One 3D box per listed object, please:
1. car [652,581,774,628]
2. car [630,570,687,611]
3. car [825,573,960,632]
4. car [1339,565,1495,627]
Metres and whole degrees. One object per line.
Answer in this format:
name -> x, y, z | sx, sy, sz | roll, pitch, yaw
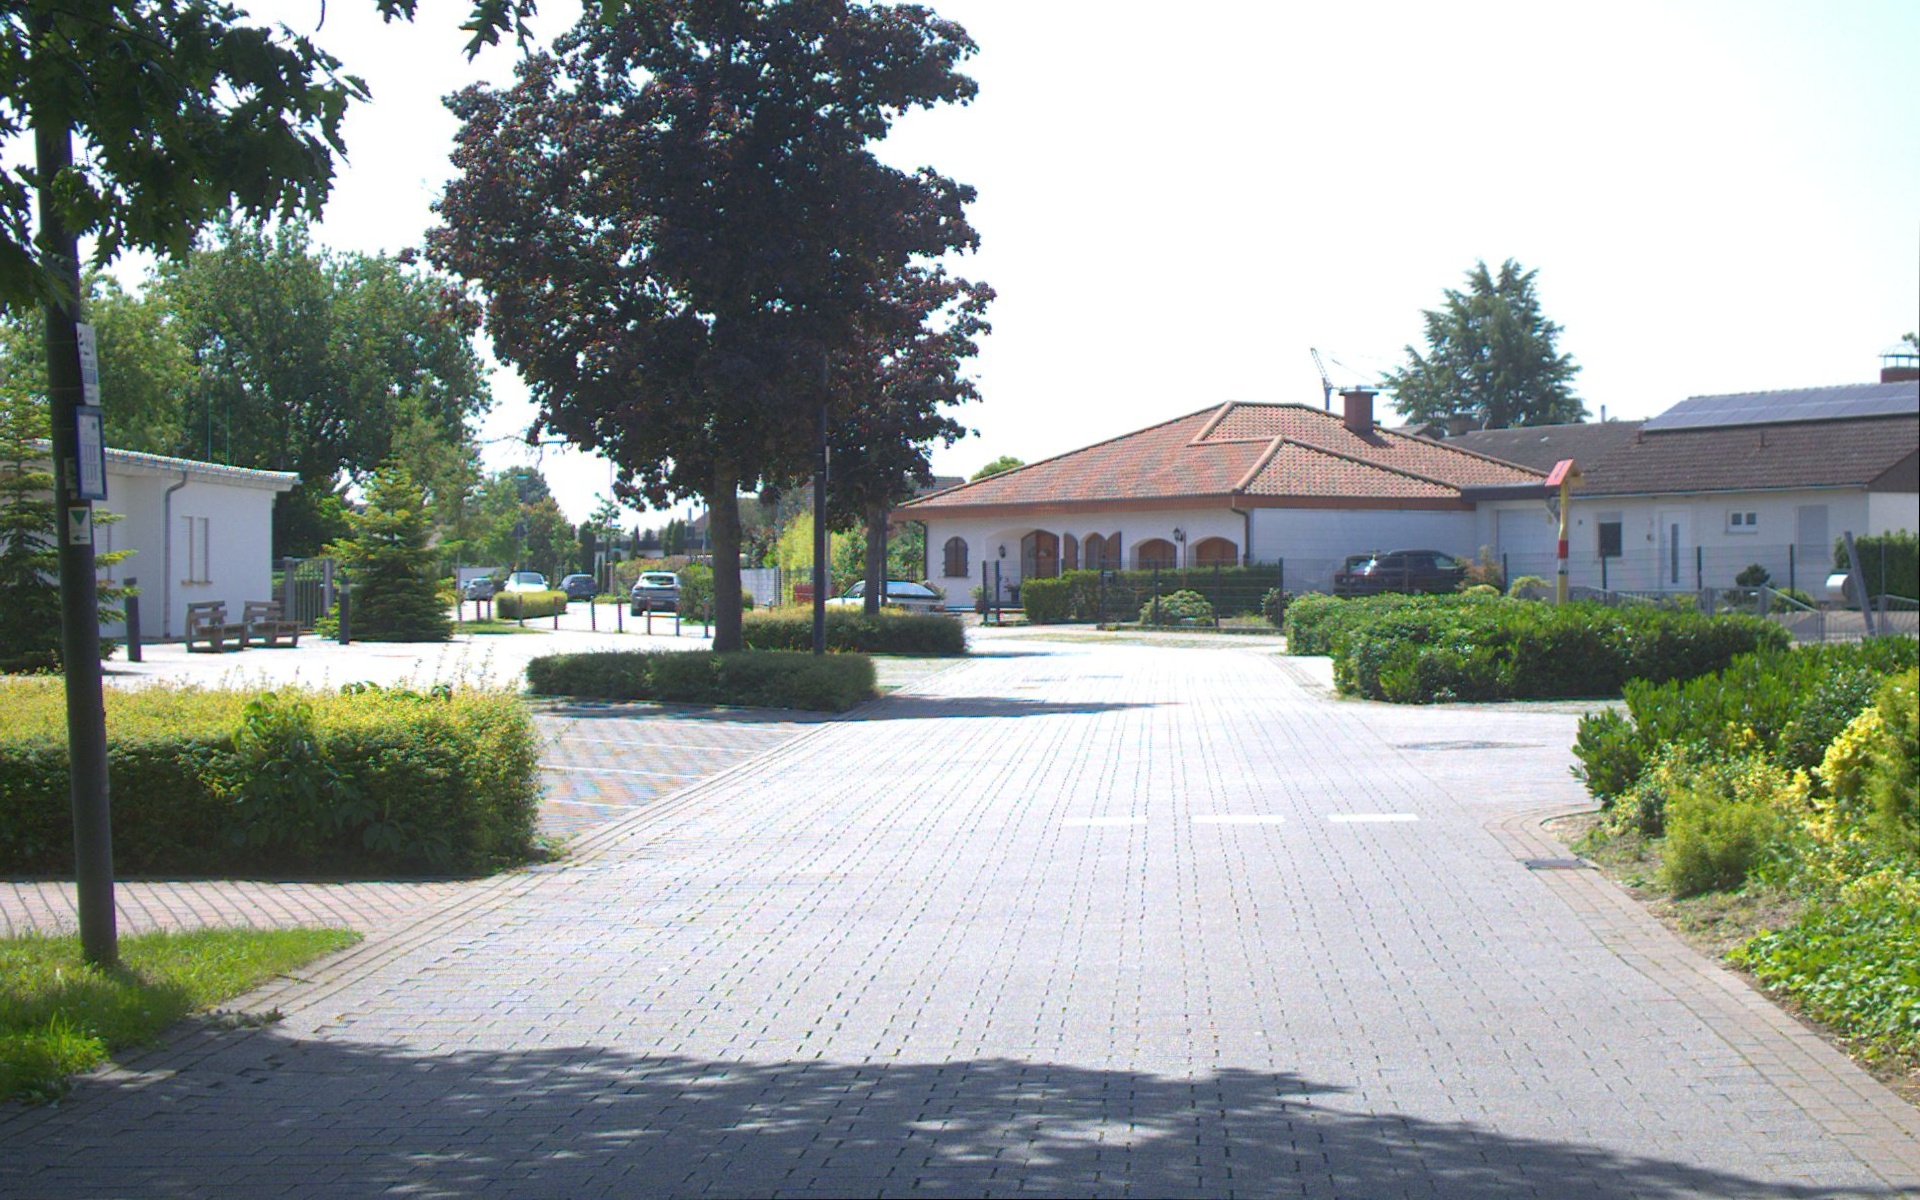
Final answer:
car -> -6.923, 0.117, 95.942 | 1.993, 1.284, 4.001 | 0, 0, -27
car -> -9.895, -0.315, 112.751 | 1.614, 1.284, 3.558 | 0, 0, -9
car -> -1.531, 0.040, 77.008 | 1.614, 1.284, 3.557 | 0, 0, -27
car -> 11.657, -0.095, 87.556 | 3.825, 1.537, 1.854 | 0, 0, -40
